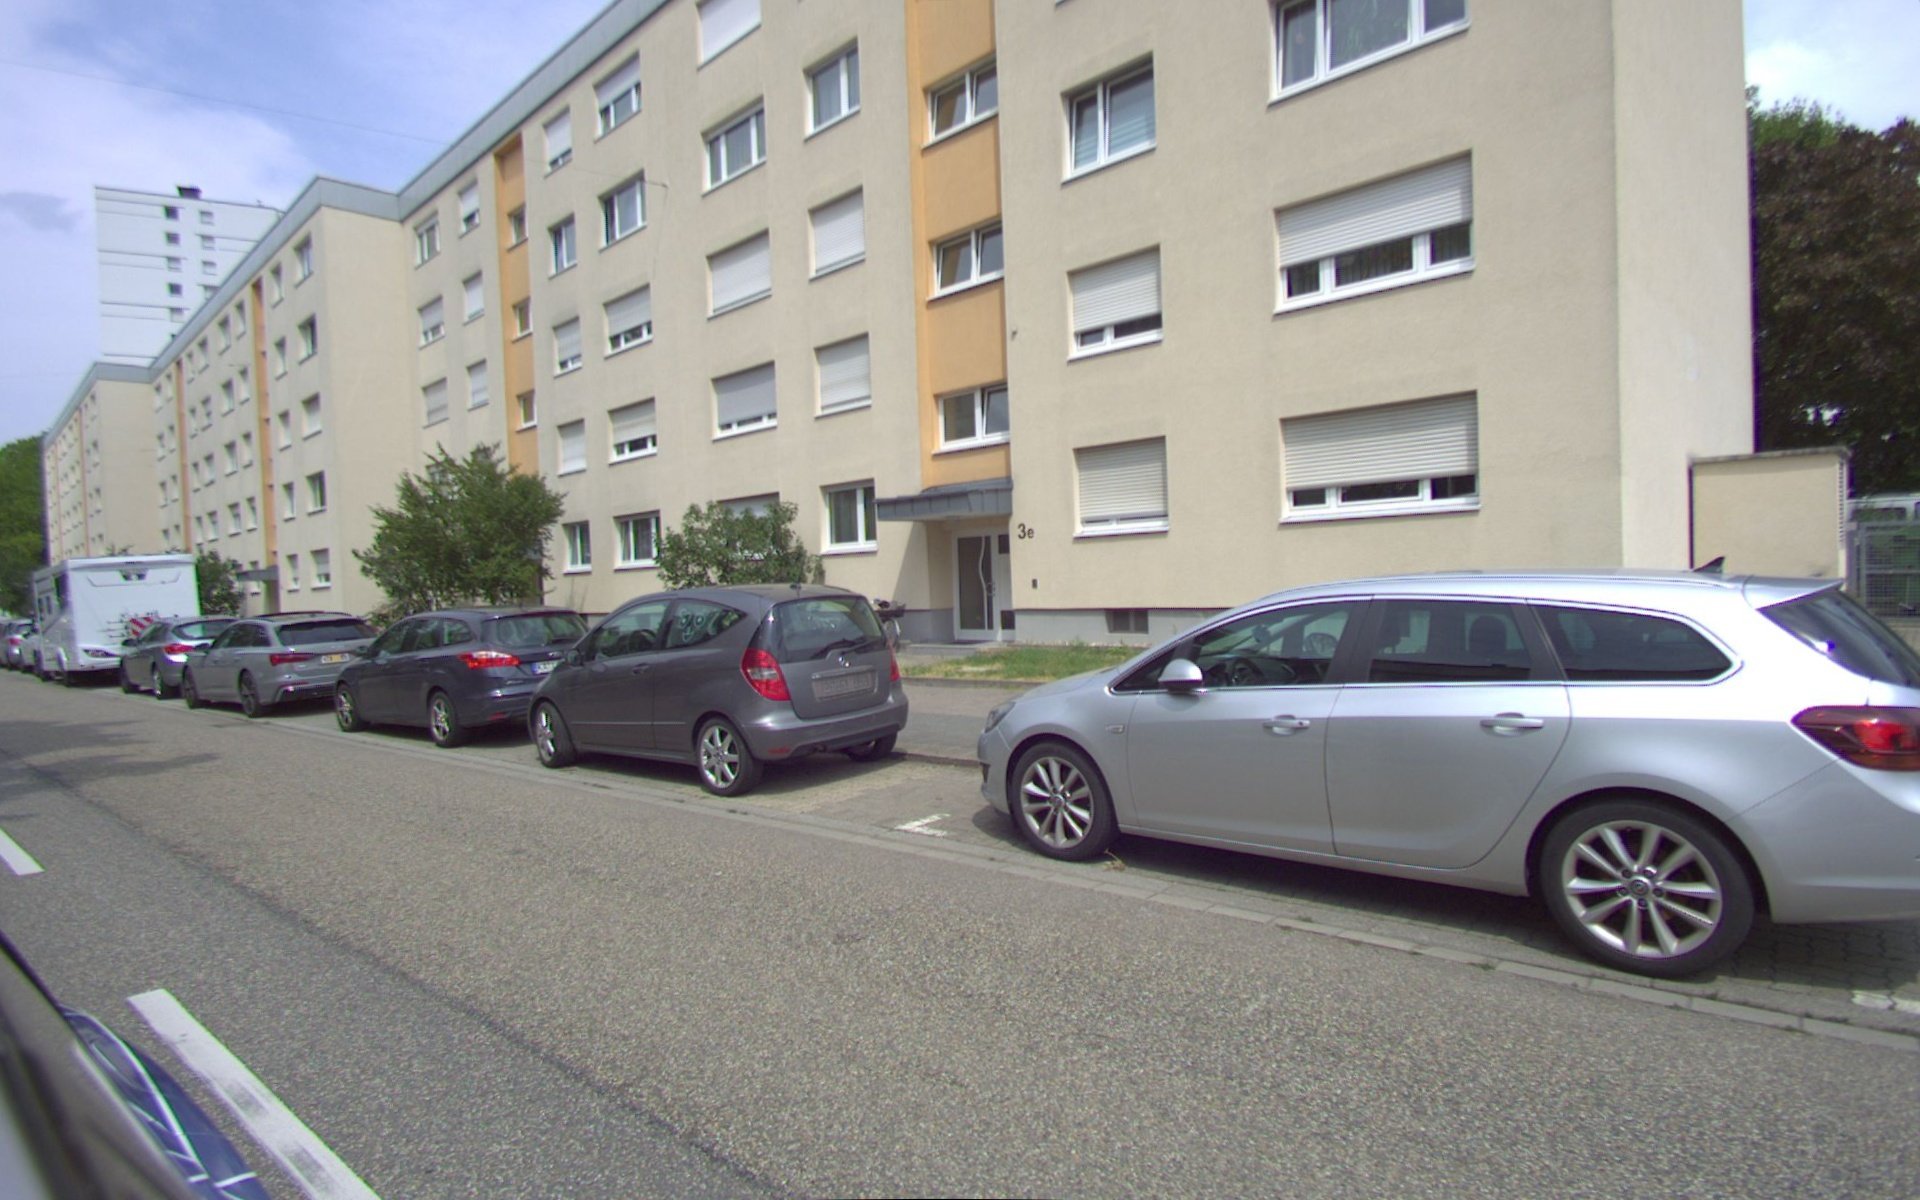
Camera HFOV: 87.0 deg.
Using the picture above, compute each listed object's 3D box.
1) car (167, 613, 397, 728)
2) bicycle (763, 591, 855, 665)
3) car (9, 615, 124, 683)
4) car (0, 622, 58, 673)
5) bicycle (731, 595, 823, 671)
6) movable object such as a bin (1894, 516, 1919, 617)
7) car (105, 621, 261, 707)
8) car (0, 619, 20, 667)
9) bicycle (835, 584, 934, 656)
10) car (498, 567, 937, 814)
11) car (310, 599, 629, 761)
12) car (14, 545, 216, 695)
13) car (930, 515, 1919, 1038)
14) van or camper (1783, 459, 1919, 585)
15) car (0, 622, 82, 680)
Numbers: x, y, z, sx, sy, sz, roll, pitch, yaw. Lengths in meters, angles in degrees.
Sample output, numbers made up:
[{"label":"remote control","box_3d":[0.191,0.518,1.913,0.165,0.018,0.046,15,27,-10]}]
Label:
[{"label":"car","box_3d":[-10.888,1.022,16.115,4.620,1.518,1.701,-1,1,39]},{"label":"bicycle","box_3d":[-2.719,0.488,18.040,0.526,1.216,2.020,-5,3,-41]},{"label":"car","box_3d":[-25.445,1.331,28.791,3.834,1.752,1.973,-1,0,41]},{"label":"car","box_3d":[-33.567,1.642,35.800,4.214,1.692,1.821,-1,0,39]},{"label":"bicycle","box_3d":[-3.213,0.552,17.628,0.526,1.216,2.020,-6,3,-41]},{"label":"movable object such as a bin","box_3d":[14.262,-0.488,14.451,1.301,1.423,1.232,-1,0,41]},{"label":"car","box_3d":[-15.303,1.182,19.857,4.055,1.495,1.596,-1,0,40]},{"label":"car","box_3d":[-38.546,1.690,39.932,3.893,1.811,1.701,-1,0,41]},{"label":"bicycle","box_3d":[-1.403,0.365,18.563,2.018,1.216,0.527,-1,3,43]},{"label":"car","box_3d":[-2.246,0.644,8.892,3.836,1.636,1.701,-1,3,39]},{"label":"car","box_3d":[-5.909,0.831,11.976,4.259,1.515,1.661,-1,2,39]},{"label":"car","box_3d":[-20.353,0.486,24.220,7.110,3.081,2.588,-2,-1,41]},{"label":"car","box_3d":[2.136,0.547,5.007,4.550,1.575,1.768,-2,3,43]},{"label":"van or camper","box_3d":[23.480,-1.935,24.824,4.903,2.894,1.971,-2,1,44]},{"label":"car","box_3d":[-29.429,1.563,32.101,4.216,1.644,1.829,-1,0,41]}]
